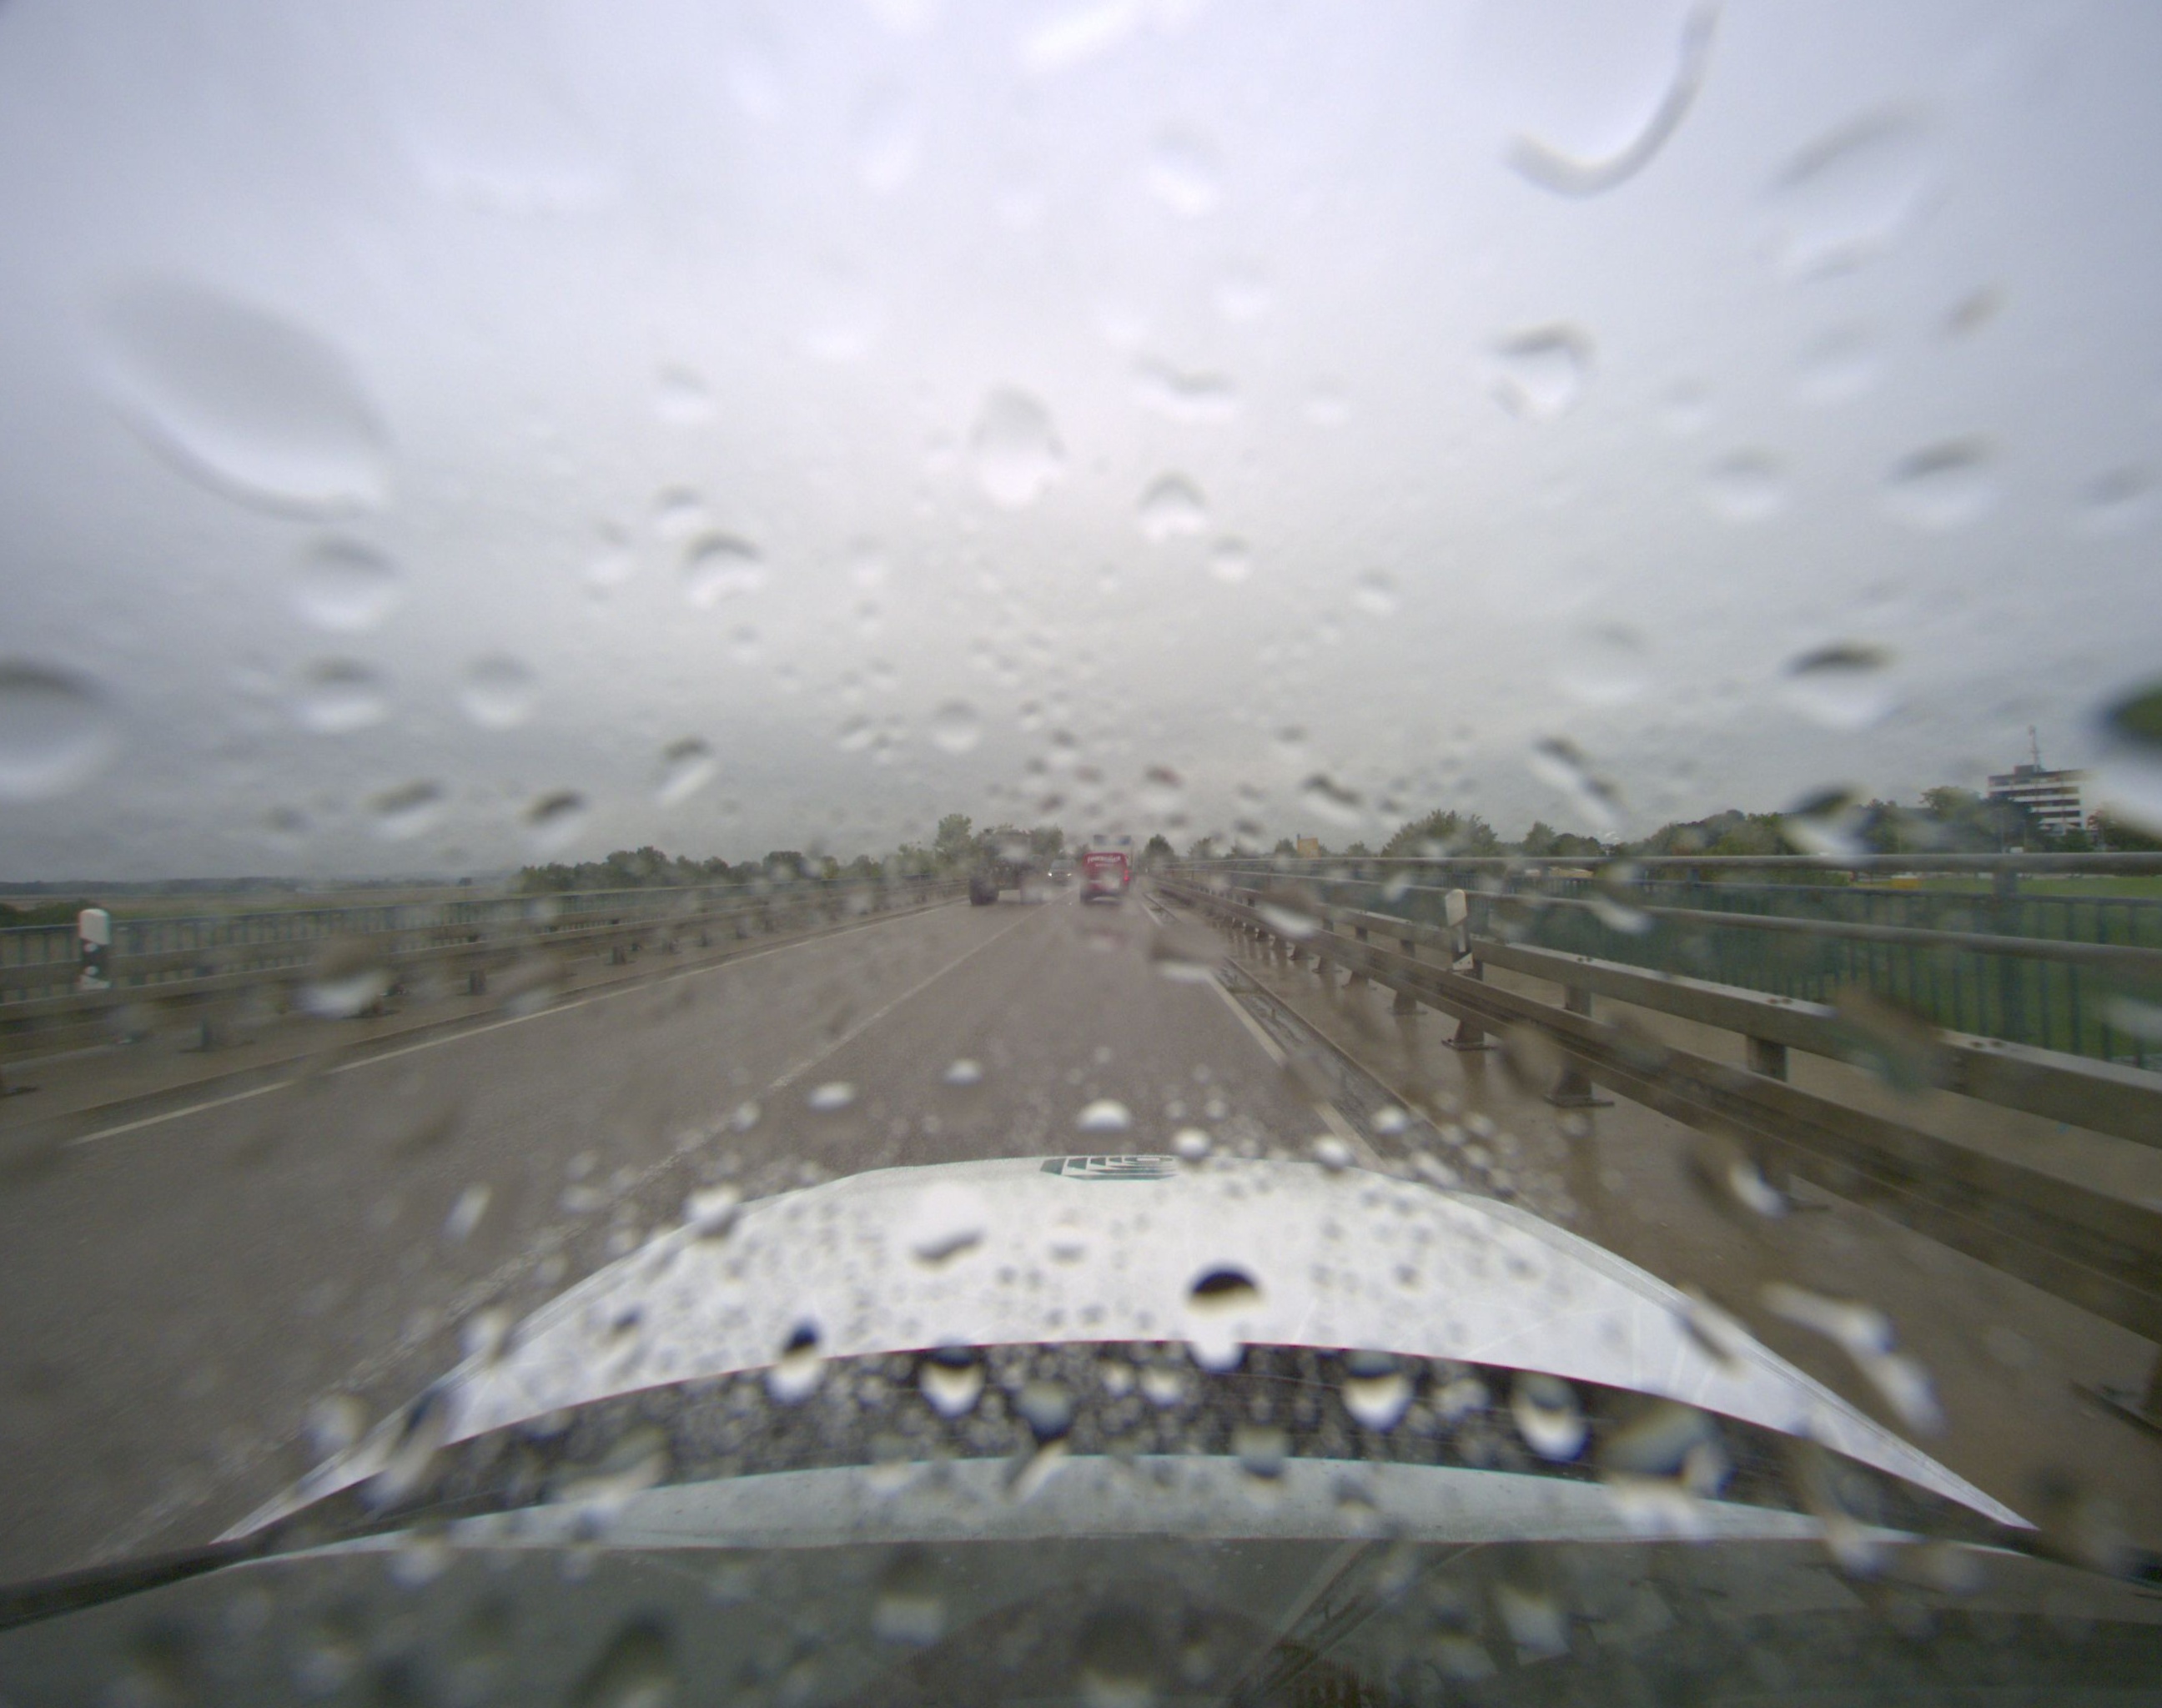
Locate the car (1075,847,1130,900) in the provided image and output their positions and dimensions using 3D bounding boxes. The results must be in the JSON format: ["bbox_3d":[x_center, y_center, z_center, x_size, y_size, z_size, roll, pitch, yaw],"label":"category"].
[{"bbox_3d":[0.831,0.693,31.645,1.986,1.925,4.144,0,1,1],"label":"car"}]

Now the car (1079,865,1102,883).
[{"bbox_3d":[0.925,1.895,77.404,1.830,1.537,4.075,-2,-1,5],"label":"car"}]

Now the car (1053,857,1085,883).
[{"bbox_3d":[-0.848,1.194,61.045,2.057,1.837,4.935,-1,-1,3],"label":"car"}]

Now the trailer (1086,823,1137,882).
[{"bbox_3d":[2.366,-0.066,59.515,3.186,3.922,8.751,2,-1,5],"label":"trailer"}]

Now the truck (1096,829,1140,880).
[{"bbox_3d":[3.224,0.065,68.250,3.186,3.922,8.751,2,-1,5],"label":"truck"}]

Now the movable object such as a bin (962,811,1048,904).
[{"bbox_3d":[-2.996,0.150,33.345,2.737,3.445,4.647,-1,-1,3],"label":"movable object such as a bin"}]
